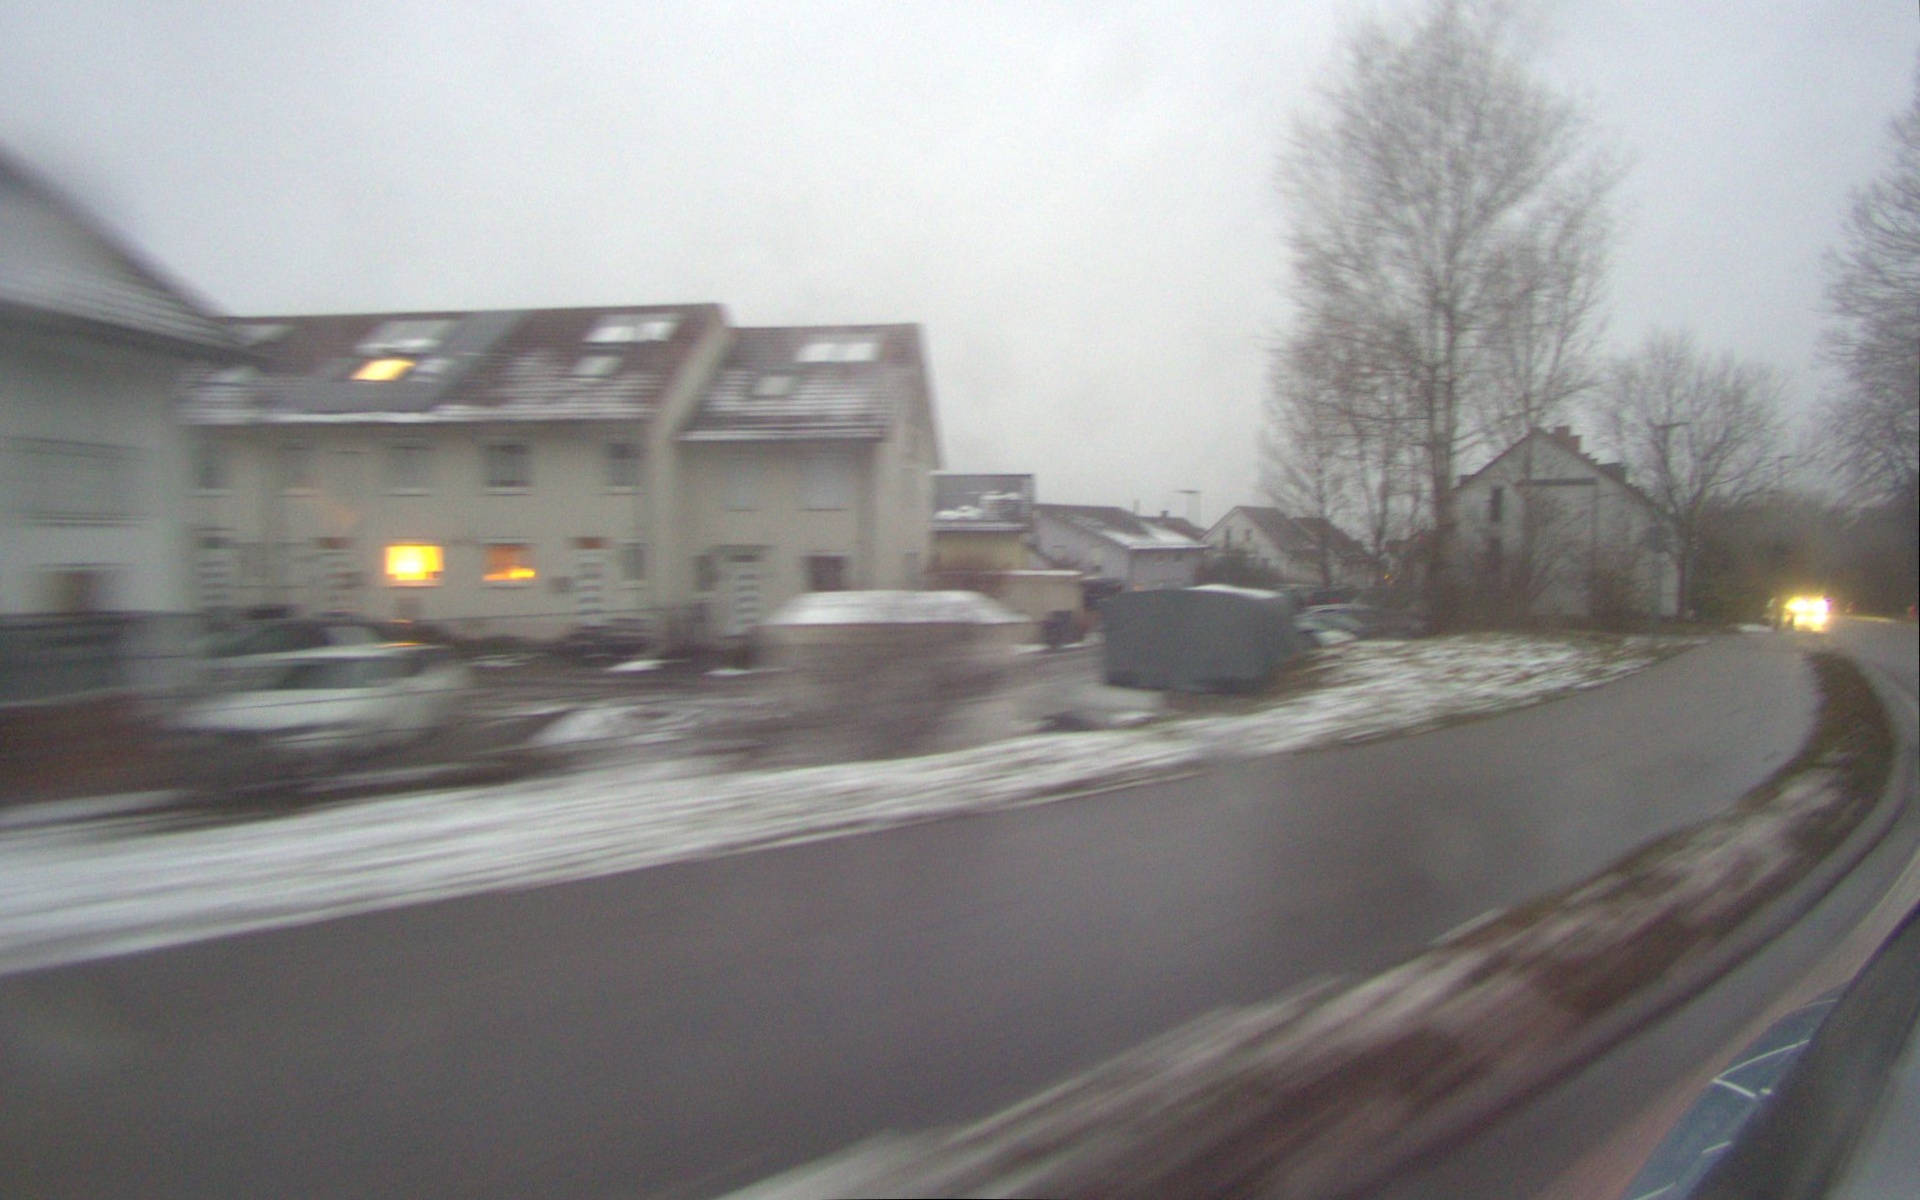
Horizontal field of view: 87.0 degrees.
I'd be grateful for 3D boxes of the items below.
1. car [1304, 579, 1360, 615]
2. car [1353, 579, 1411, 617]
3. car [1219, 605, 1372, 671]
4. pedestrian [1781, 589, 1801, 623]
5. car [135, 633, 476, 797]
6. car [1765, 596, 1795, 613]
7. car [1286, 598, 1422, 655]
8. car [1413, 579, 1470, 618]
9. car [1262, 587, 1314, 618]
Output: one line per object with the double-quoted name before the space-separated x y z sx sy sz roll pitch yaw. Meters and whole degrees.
"car" 18.821 -0.181 51.127 1.635 1.490 3.690 2 6 38
"car" 20.325 -0.119 48.677 1.635 1.490 3.690 2 6 38
"car" 9.581 1.025 28.975 3.773 1.617 1.780 2 1 37
"pedestrian" 42.870 0.307 52.224 0.742 1.675 0.957 2 1 37
"car" -8.348 1.351 13.566 1.913 1.506 4.917 1 1 -8
"car" 77.219 0.387 95.334 1.696 1.525 3.979 0 1 32
"car" 12.723 0.814 32.754 3.773 1.617 1.780 2 1 37
"car" 22.394 -0.122 46.996 1.635 1.490 3.690 2 6 38
"car" 16.815 0.118 51.760 1.466 1.293 3.355 2 6 38
